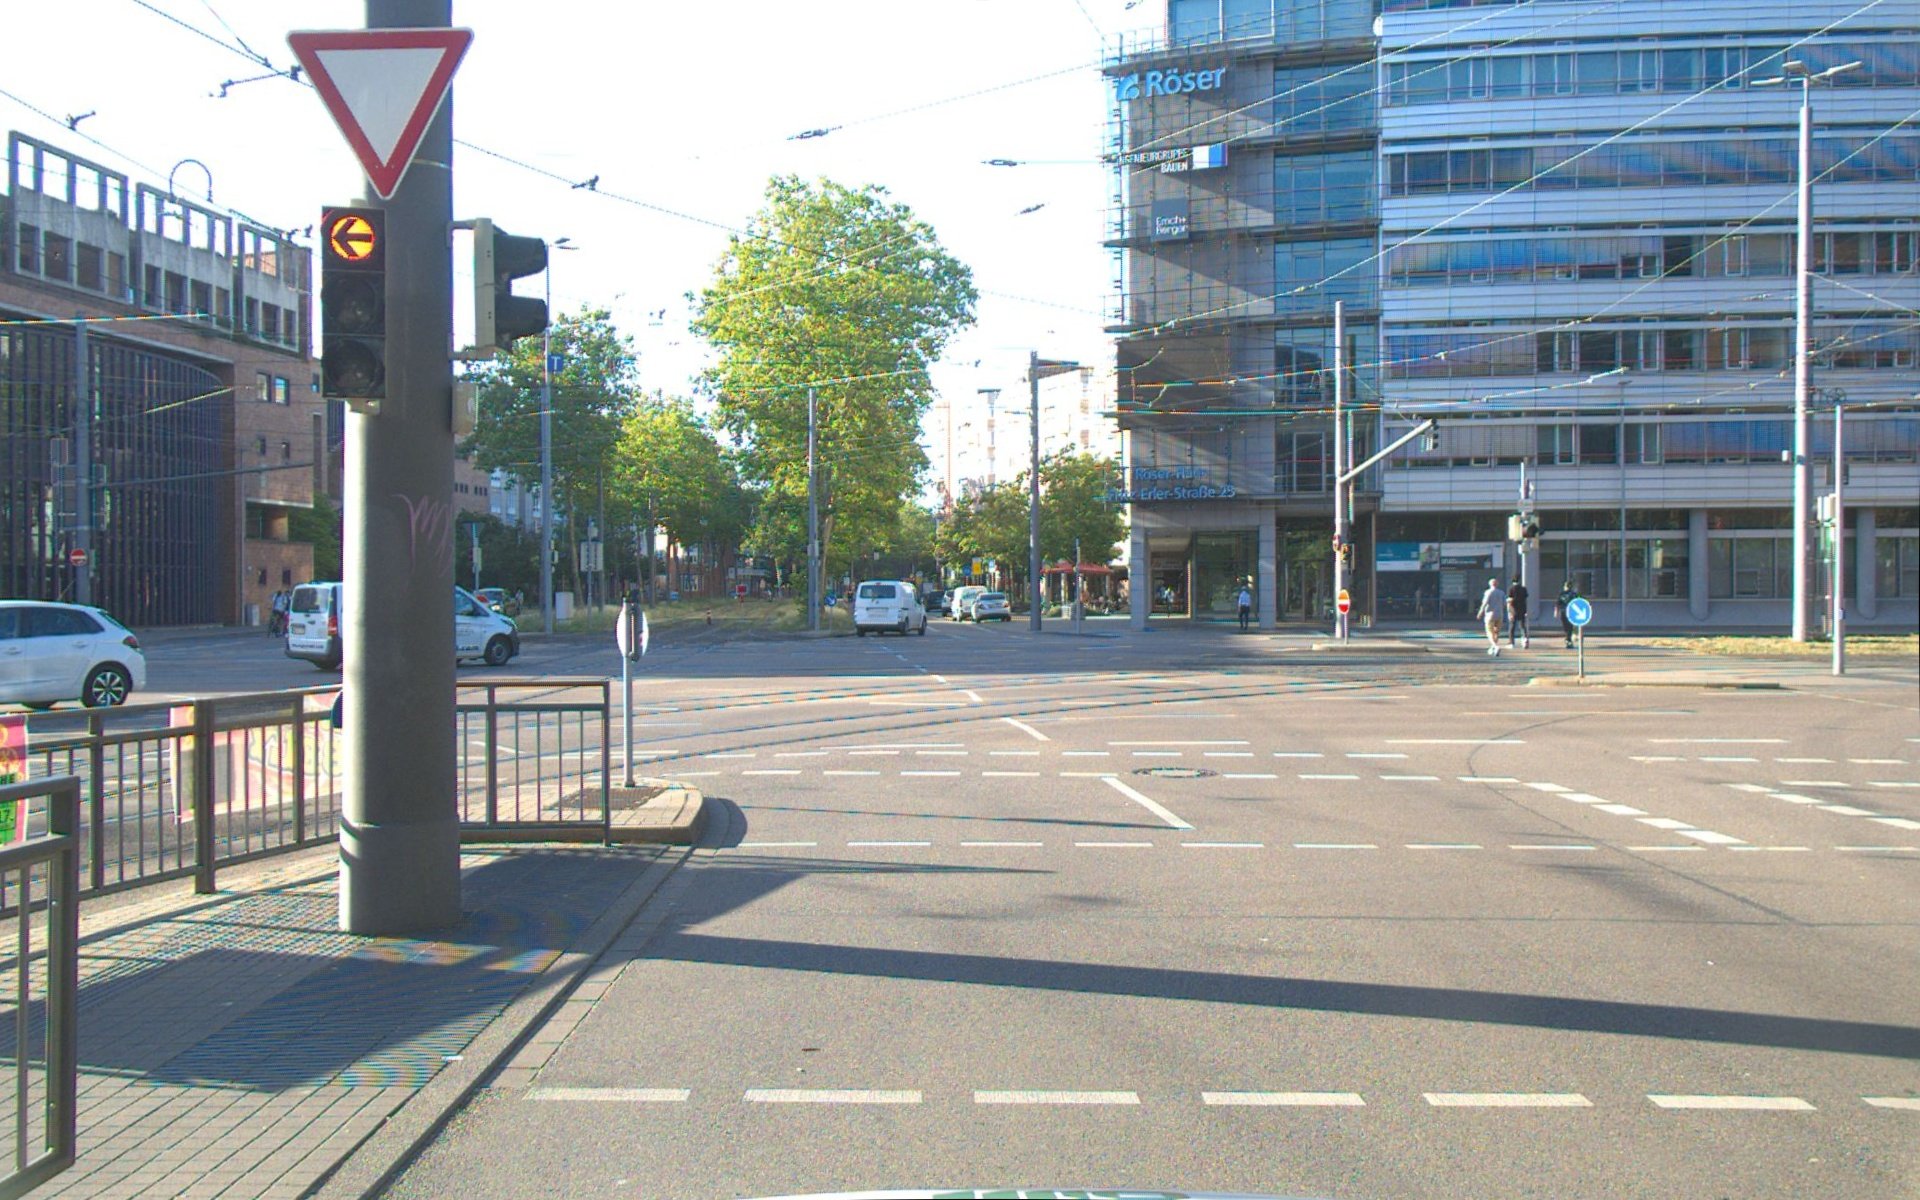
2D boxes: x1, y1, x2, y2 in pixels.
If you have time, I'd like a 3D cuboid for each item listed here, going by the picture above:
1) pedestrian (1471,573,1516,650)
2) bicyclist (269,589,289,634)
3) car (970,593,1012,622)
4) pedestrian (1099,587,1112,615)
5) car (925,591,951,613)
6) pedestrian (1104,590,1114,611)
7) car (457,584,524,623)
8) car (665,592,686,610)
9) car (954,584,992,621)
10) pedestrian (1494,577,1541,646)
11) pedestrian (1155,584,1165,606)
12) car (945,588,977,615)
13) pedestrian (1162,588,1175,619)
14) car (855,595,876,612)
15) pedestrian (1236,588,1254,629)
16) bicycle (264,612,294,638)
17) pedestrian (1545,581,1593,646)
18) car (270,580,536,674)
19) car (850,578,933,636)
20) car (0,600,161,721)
[{"bbox_3d":[12.818,0.282,39.764,0.845,1.820,0.872,-1,0,4],"label":"pedestrian"},{"bbox_3d":[-26.815,0.467,65.148,0.525,1.761,0.581,-1,0,-1],"label":"bicyclist"},{"bbox_3d":[1.536,0.339,82.778,1.953,1.400,3.999,-1,0,-1],"label":"car"},{"bbox_3d":[9.237,0.041,105.067,0.729,1.744,0.612,-1,0,-1],"label":"pedestrian"},{"bbox_3d":[-1.680,0.134,126.624,1.953,1.646,3.999,-1,0,-1],"label":"car"},{"bbox_3d":[9.451,0.031,104.812,0.565,1.311,0.910,-1,0,-1],"label":"pedestrian"},{"bbox_3d":[-21.121,0.146,74.584,1.953,1.668,3.999,-1,0,-2],"label":"car"},{"bbox_3d":[-33.301,0.093,193.427,1.954,2.049,3.997,-1,0,-3],"label":"car"},{"bbox_3d":[0.687,0.118,89.564,1.953,1.892,3.999,-1,0,-1],"label":"car"},{"bbox_3d":[14.005,0.284,41.596,0.893,1.714,1.036,-1,0,6],"label":"pedestrian"},{"bbox_3d":[15.795,-0.368,130.767,0.729,1.744,0.612,-1,0,-1],"label":"pedestrian"},{"bbox_3d":[0.035,0.073,105.201,1.953,1.646,3.999,-1,0,-1],"label":"car"},{"bbox_3d":[10.486,0.164,83.201,0.599,1.534,0.579,-1,0,7],"label":"pedestrian"},{"bbox_3d":[-8.406,0.332,147.120,1.762,1.467,3.998,1,0,-3],"label":"car"},{"bbox_3d":[10.795,0.315,62.708,0.599,1.534,0.579,-1,0,3],"label":"pedestrian"},{"bbox_3d":[-26.828,0.981,65.143,0.531,0.980,1.586,-1,0,-1],"label":"bicycle"},{"bbox_3d":[15.181,0.321,41.242,0.928,1.591,0.897,-1,0,6],"label":"pedestrian"},{"bbox_3d":[-12.019,0.525,36.039,1.930,1.881,5.305,-1,0,38],"label":"car"},{"bbox_3d":[-2.323,0.226,57.236,1.718,1.899,4.529,-1,0,13],"label":"car"},{"bbox_3d":[-12.904,0.782,21.539,1.723,1.514,4.301,-1,0,30],"label":"car"}]
